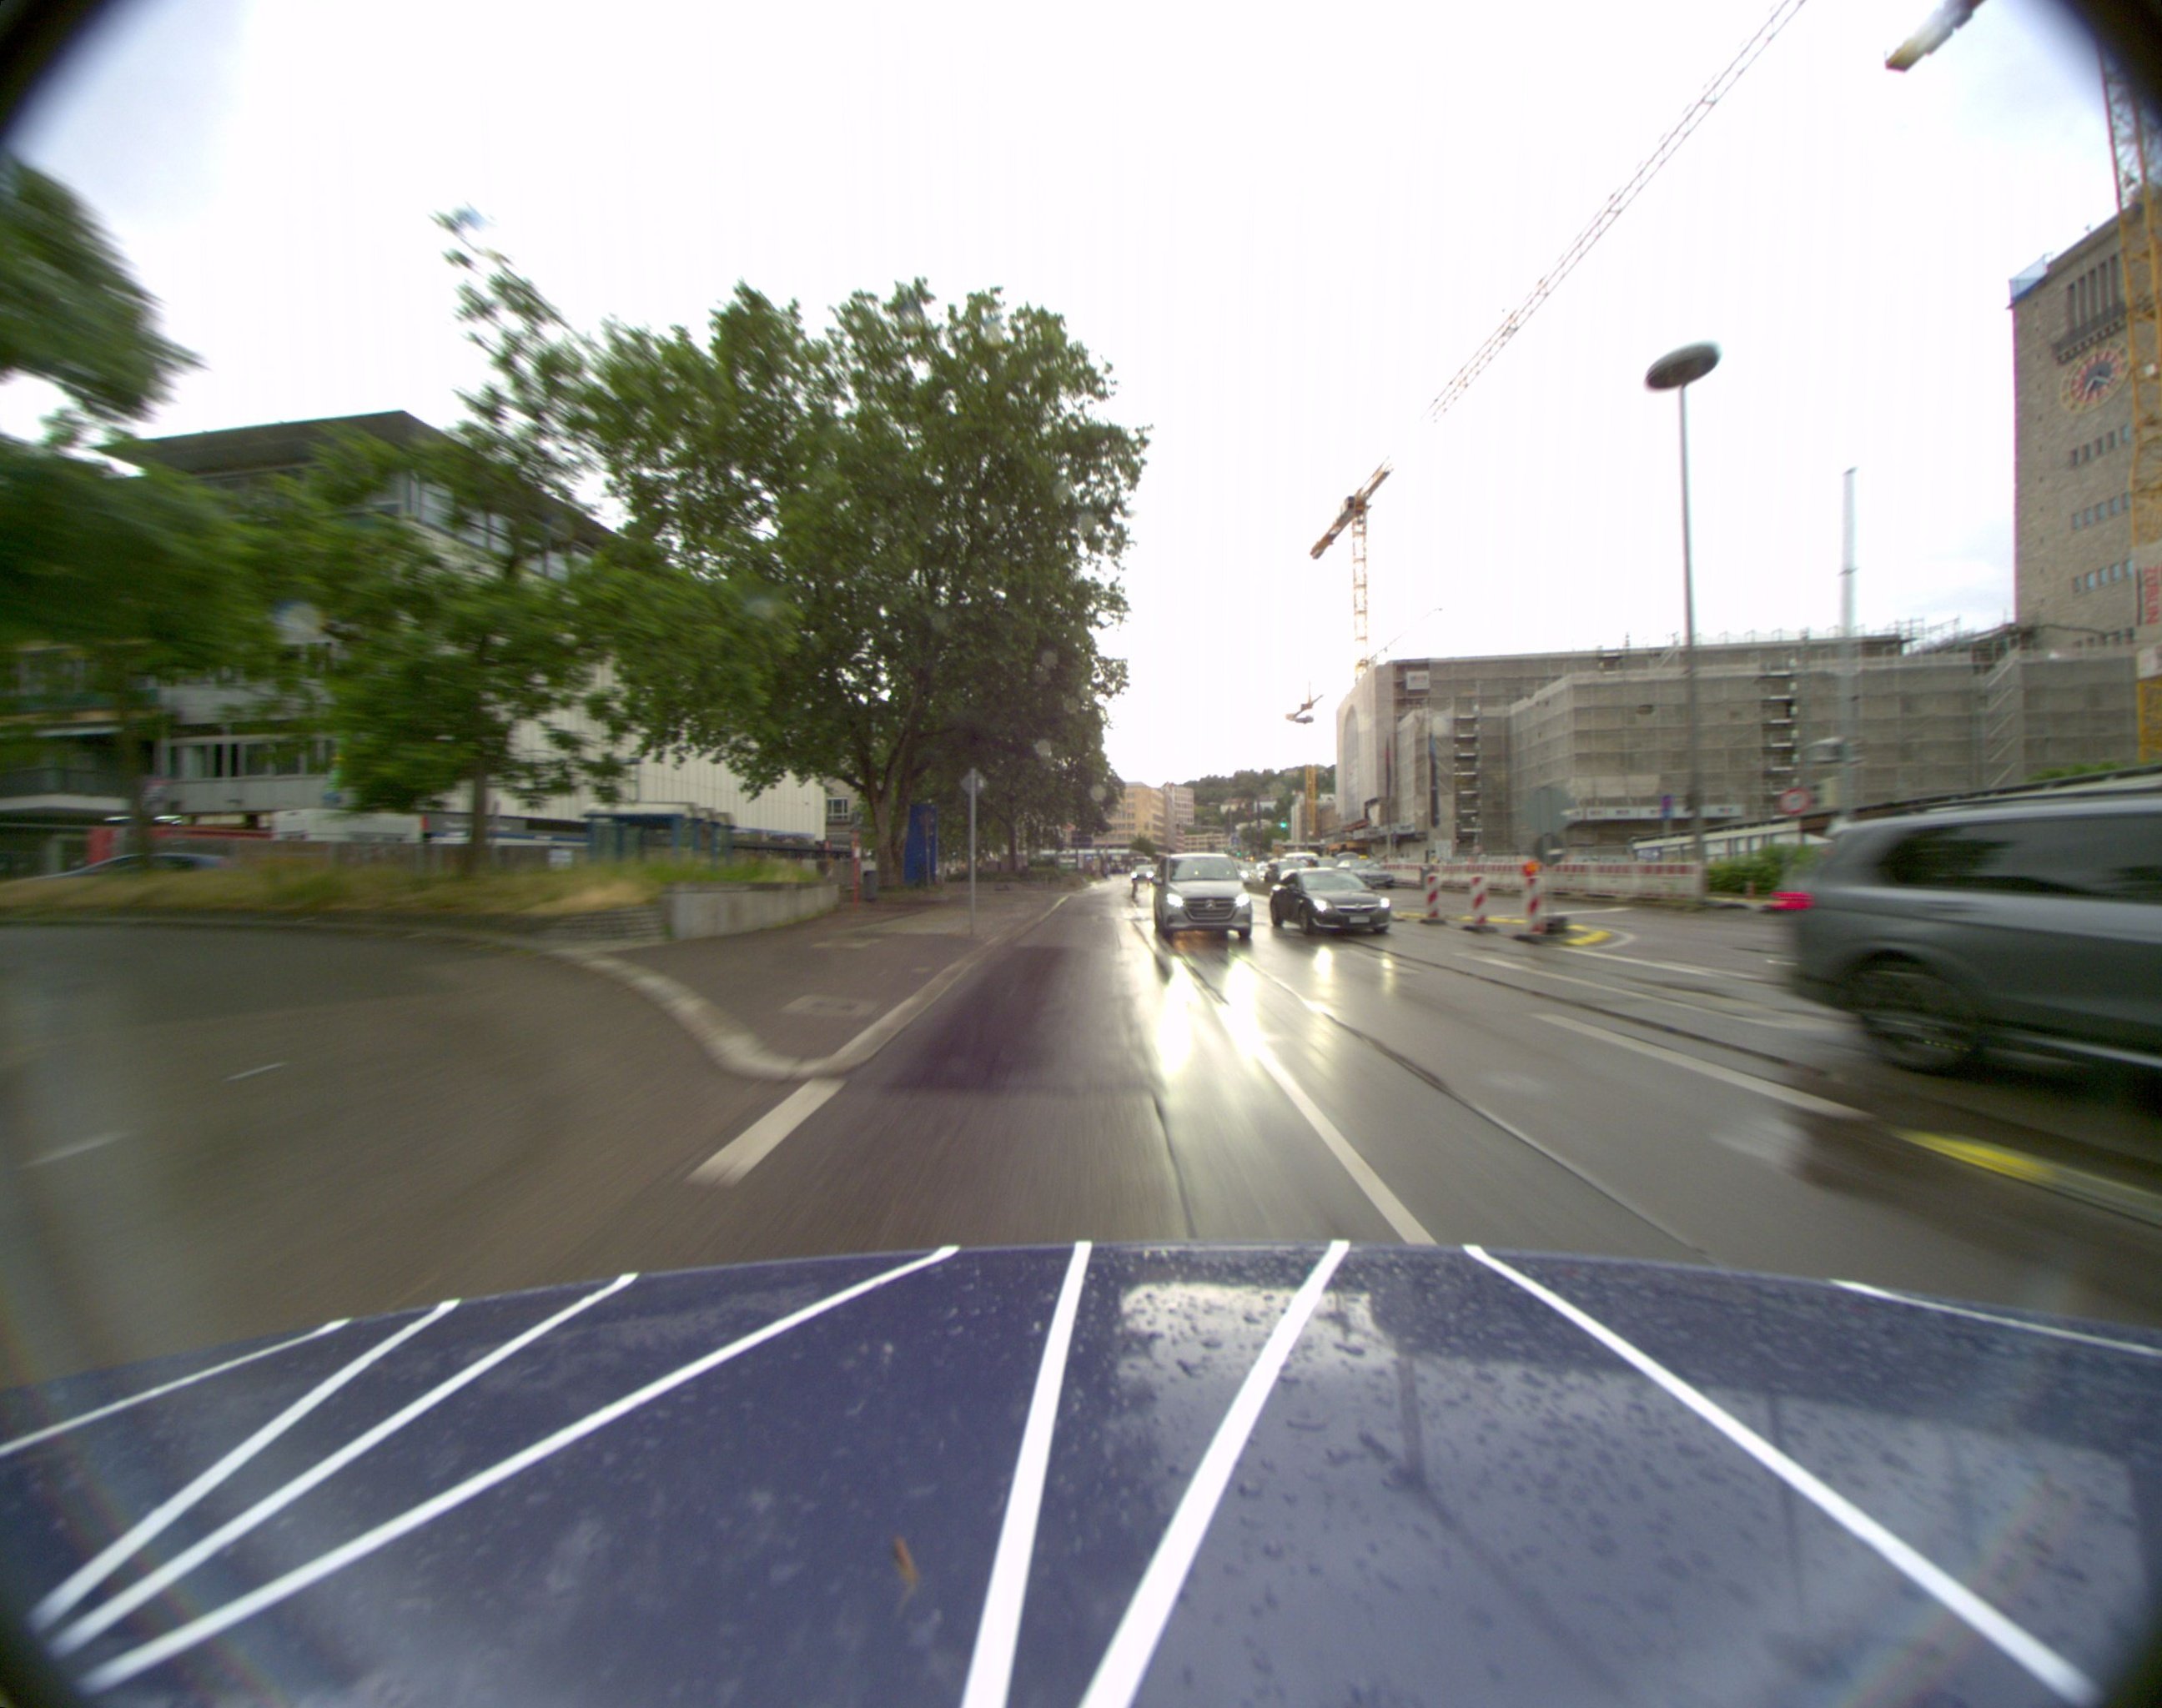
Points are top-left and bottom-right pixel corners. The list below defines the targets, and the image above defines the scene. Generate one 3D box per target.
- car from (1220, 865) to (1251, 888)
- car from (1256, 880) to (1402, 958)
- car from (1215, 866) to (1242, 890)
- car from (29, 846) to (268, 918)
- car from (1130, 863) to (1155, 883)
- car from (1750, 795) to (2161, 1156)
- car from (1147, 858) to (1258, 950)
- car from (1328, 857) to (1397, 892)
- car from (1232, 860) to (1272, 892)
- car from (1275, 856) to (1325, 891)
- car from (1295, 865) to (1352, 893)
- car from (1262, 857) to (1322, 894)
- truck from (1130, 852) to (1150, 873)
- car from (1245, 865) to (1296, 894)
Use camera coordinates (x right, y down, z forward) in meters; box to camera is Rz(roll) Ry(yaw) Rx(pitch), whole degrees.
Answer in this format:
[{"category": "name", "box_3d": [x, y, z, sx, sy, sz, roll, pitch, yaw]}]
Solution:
[{"category": "car", "box_3d": [12.104, 1.699, 59.739, 1.997, 1.706, 4.758, 0, -1, 7]}, {"category": "car", "box_3d": [5.696, 1.429, 18.161, 1.812, 1.455, 4.919, 2, -1, 0]}, {"category": "car", "box_3d": [12.701, 2.010, 65.599, 1.997, 2.001, 4.002, 0, 0, 6]}, {"category": "car", "box_3d": [-22.319, 0.634, 18.410, 3.348, 1.581, 1.790, 1, -1, -40]}, {"category": "car", "box_3d": [5.389, 1.672, 67.226, 1.998, 1.753, 4.001, 0, -1, 2]}, {"category": "car", "box_3d": [6.657, 0.595, 3.634, 2.216, 1.852, 5.072, -1, -1, -4]}, {"category": "car", "box_3d": [2.715, 1.089, 18.202, 1.998, 1.845, 5.360, -2, -1, 3]}, {"category": "car", "box_3d": [13.968, 1.007, 37.992, 1.832, 1.643, 4.575, 0, -1, 1]}, {"category": "car", "box_3d": [11.984, 1.513, 53.465, 1.998, 2.101, 4.716, 0, -1, 3]}, {"category": "car", "box_3d": [14.562, 1.292, 50.802, 2.003, 2.194, 4.999, 0, -1, 2]}, {"category": "car", "box_3d": [14.133, 1.437, 44.486, 2.172, 1.563, 4.001, 0, -1, 2]}, {"category": "car", "box_3d": [10.691, 1.063, 38.869, 1.998, 1.803, 4.294, 0, 0, 2]}, {"category": "truck", "box_3d": [10.057, 1.493, 130.487, 3.043, 3.395, 8.956, 0, -1, 2]}, {"category": "car", "box_3d": [11.073, 1.474, 44.688, 1.998, 1.644, 4.903, 0, -1, 3]}]
